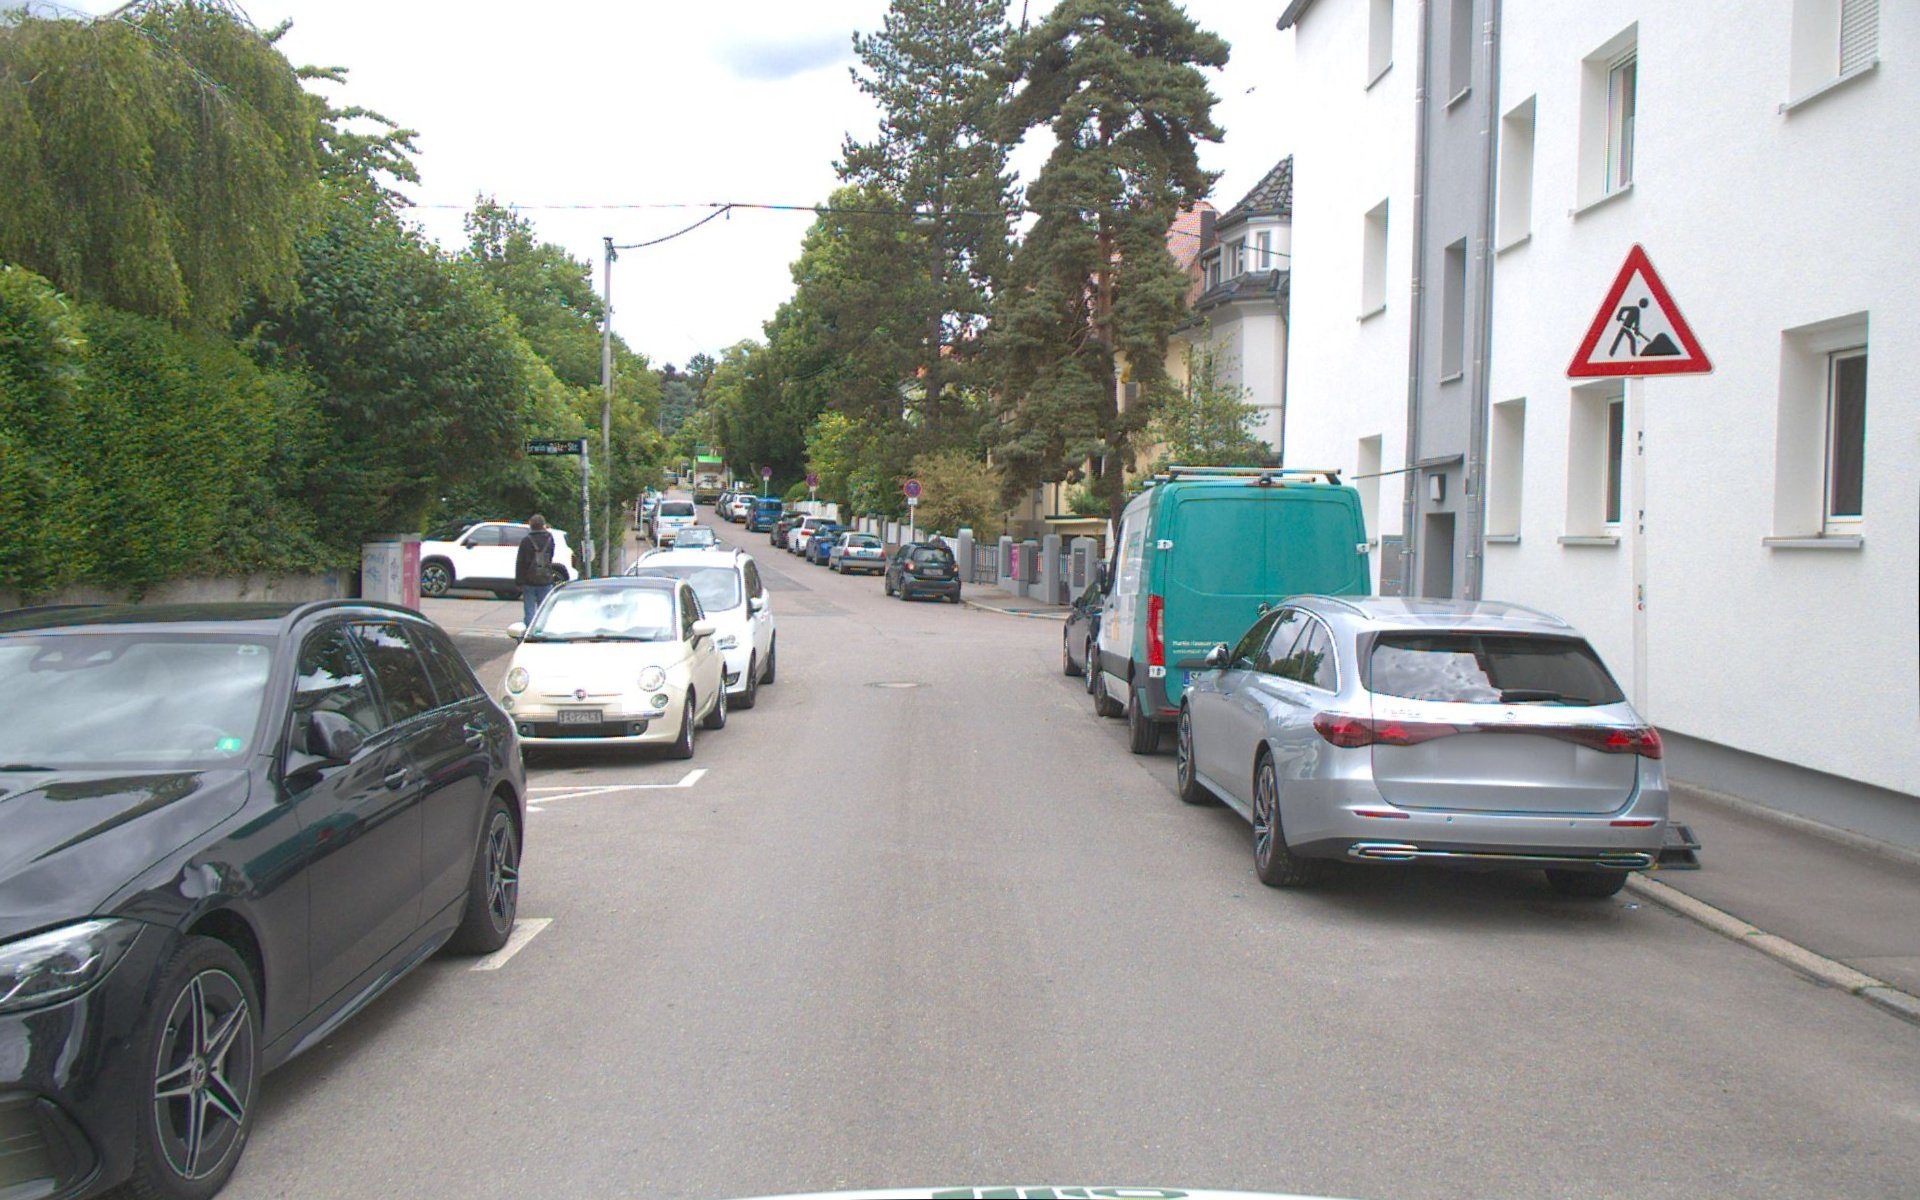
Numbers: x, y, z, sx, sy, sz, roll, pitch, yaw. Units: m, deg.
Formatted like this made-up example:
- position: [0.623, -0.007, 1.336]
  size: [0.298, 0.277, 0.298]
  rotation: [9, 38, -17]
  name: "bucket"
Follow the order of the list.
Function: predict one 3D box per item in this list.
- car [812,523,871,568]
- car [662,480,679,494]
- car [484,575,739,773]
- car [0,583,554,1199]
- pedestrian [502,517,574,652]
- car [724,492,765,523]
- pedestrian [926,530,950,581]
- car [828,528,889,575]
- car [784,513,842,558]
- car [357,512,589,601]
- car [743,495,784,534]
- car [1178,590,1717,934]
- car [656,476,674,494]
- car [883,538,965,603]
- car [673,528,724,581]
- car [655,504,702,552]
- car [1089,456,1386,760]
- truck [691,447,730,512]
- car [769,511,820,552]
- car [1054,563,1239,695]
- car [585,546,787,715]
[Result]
- position: [-4.513, -2.083, 62.348]
  size: [1.619, 1.483, 4.041]
  rotation: [2, 3, -12]
  name: "car"
- position: [-34.425, -13.449, 196.469]
  size: [1.748, 1.514, 3.988]
  rotation: [1, 4, -14]
  name: "car"
- position: [-2.993, 0.559, 14.886]
  size: [1.574, 1.478, 3.613]
  rotation: [-2, 1, -2]
  name: "car"
- position: [-2.698, 0.711, 5.418]
  size: [1.766, 1.506, 4.327]
  rotation: [0, 1, -2]
  name: "car"
- position: [-5.808, -0.220, 22.794]
  size: [0.804, 1.790, 0.643]
  rotation: [3, 2, -7]
  name: "pedestrian"
- position: [-12.895, -5.533, 98.893]
  size: [1.729, 1.633, 4.558]
  rotation: [1, 4, -16]
  name: "car"
- position: [-0.718, -1.441, 53.188]
  size: [0.668, 1.604, 0.905]
  rotation: [-1, 2, -7]
  name: "pedestrian"
- position: [-3.563, -1.716, 57.752]
  size: [1.546, 1.424, 3.646]
  rotation: [2, 4, -12]
  name: "car"
- position: [-6.147, -2.697, 68.790]
  size: [1.755, 1.630, 4.291]
  rotation: [2, 4, -14]
  name: "car"
- position: [-10.414, -0.908, 35.629]
  size: [1.802, 1.684, 4.489]
  rotation: [5, 2, 40]
  name: "car"
- position: [-10.514, -4.579, 88.438]
  size: [1.654, 1.860, 4.145]
  rotation: [2, 4, -13]
  name: "car"
- position: [2.492, 0.717, 9.657]
  size: [1.787, 1.470, 4.383]
  rotation: [2, 1, 0]
  name: "car"
- position: [-30.815, -12.015, 172.531]
  size: [1.606, 1.730, 3.485]
  rotation: [1, 5, -13]
  name: "car"
- position: [-1.017, -0.837, 45.693]
  size: [1.546, 1.557, 2.858]
  rotation: [3, 3, -15]
  name: "car"
- position: [-8.598, -1.519, 54.522]
  size: [1.415, 1.578, 2.768]
  rotation: [-2, 5, -6]
  name: "car"
- position: [-12.520, -3.249, 73.480]
  size: [1.822, 1.946, 4.607]
  rotation: [-2, 4, -12]
  name: "car"
- position: [2.474, 0.023, 16.168]
  size: [1.953, 2.464, 5.293]
  rotation: [1, 1, -1]
  name: "car"
- position: [-19.431, -9.431, 128.722]
  size: [2.480, 4.828, 7.170]
  rotation: [2, 4, -12]
  name: "truck"
- position: [-7.464, -3.102, 74.389]
  size: [1.720, 1.635, 4.064]
  rotation: [3, 3, -13]
  name: "car"
- position: [2.399, 0.312, 22.332]
  size: [1.782, 1.511, 4.285]
  rotation: [1, 2, -3]
  name: "car"
- position: [-3.058, 0.250, 19.241]
  size: [1.768, 1.688, 4.151]
  rotation: [0, 3, -2]
  name: "car"
